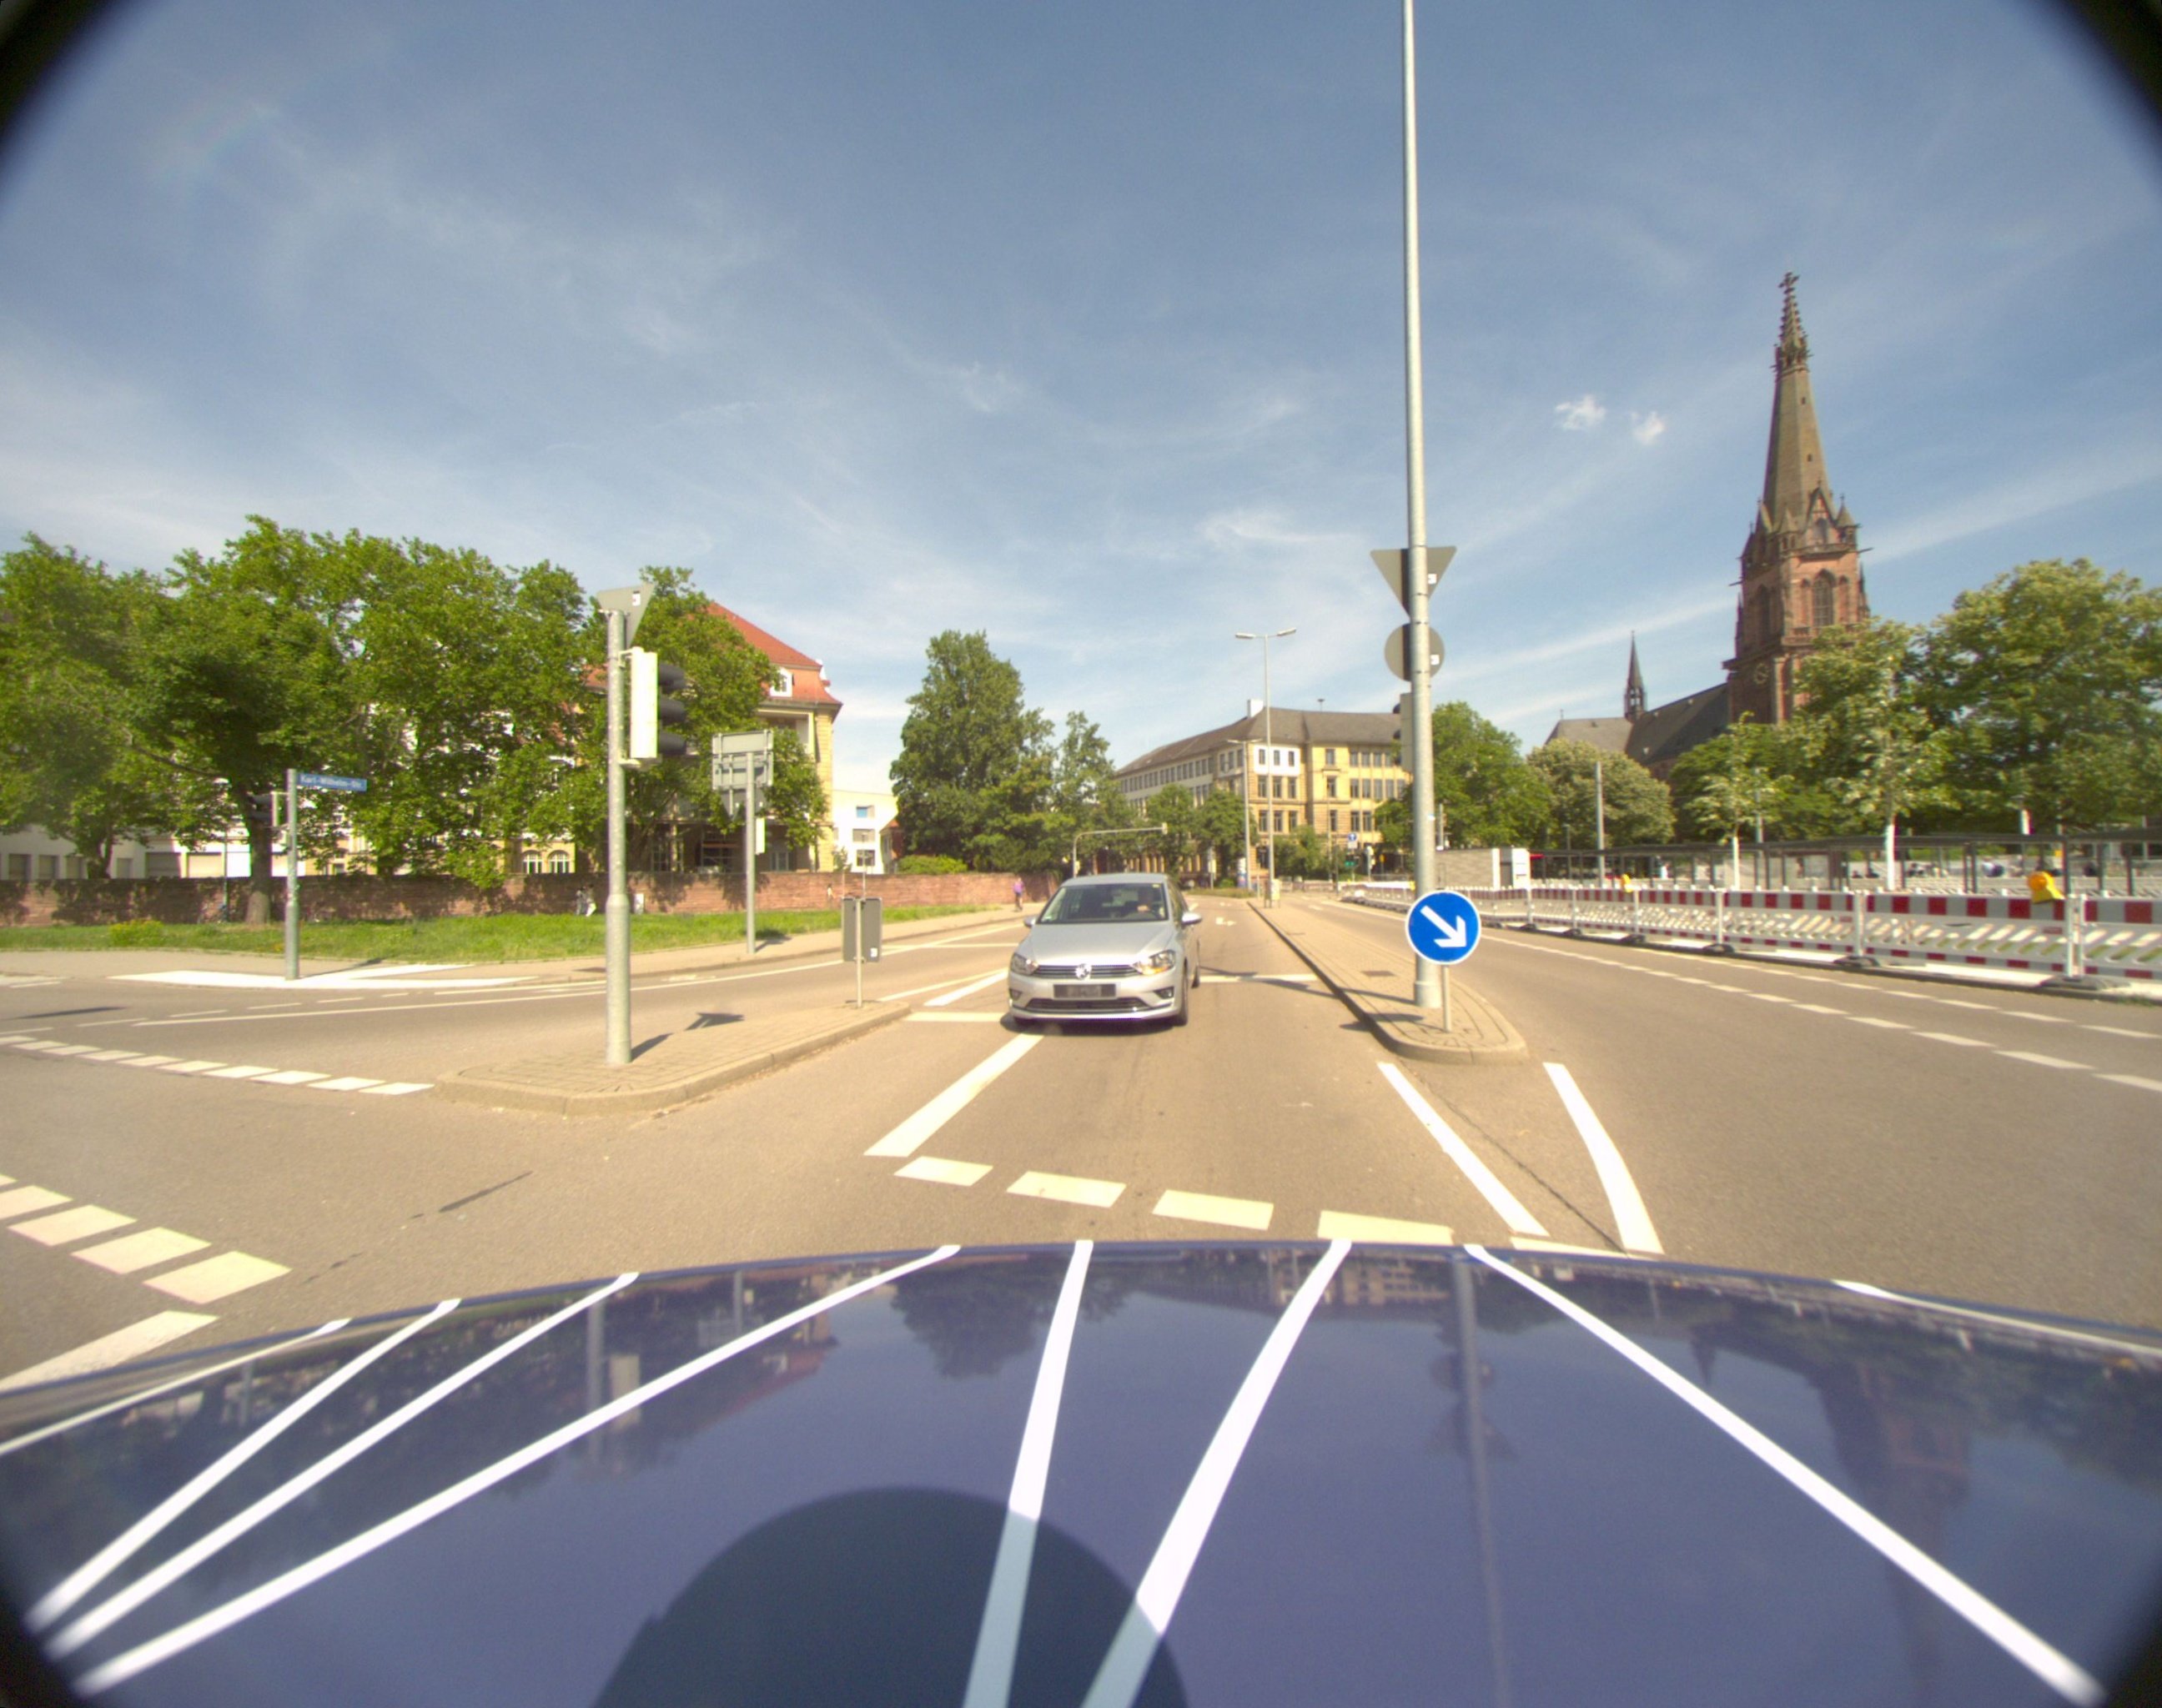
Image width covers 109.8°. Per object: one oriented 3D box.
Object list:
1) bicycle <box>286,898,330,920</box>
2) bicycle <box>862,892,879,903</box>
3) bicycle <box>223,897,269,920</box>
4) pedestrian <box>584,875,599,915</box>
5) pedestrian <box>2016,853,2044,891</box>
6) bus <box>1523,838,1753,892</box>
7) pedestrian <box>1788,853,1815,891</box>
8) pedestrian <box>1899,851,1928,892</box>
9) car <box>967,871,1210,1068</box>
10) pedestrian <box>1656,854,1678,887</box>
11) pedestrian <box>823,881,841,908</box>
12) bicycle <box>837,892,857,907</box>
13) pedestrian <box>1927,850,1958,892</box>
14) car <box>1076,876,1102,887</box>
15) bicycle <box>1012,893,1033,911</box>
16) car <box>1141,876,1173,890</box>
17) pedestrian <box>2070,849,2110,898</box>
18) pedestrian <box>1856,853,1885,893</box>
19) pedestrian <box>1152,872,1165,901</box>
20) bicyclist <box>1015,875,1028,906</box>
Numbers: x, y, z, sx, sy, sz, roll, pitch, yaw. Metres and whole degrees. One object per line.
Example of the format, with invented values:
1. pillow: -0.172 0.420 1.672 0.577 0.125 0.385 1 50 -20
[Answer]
1. bicycle: -37.388 2.640 36.780 1.449 1.027 0.447 0 -1 -16
2. bicycle: -12.922 2.668 46.592 0.950 0.598 0.274 1 -2 -41
3. bicycle: -39.696 2.591 36.138 1.449 1.027 0.447 0 -1 -16
4. pedestrian: -24.945 2.083 38.714 0.597 2.001 0.522 -1 -1 -31
5. pedestrian: 42.024 0.786 33.655 0.822 1.651 0.743 0 -1 -38
6. bus: 37.206 0.914 51.746 3.137 3.075 12.391 -3 -2 -28
7. pedestrian: 38.571 0.961 40.683 0.687 2.001 0.819 0 -1 -25
8. pedestrian: 40.810 0.857 37.248 0.821 2.001 0.685 -1 -1 -20
9. car: 0.368 0.993 8.317 1.686 1.576 4.158 -1 -2 15
10. pedestrian: 35.347 0.996 45.840 0.819 2.001 0.687 -1 -1 13
11. pedestrian: -14.548 2.362 44.379 0.915 1.538 0.502 0 -1 -26
12. bicycle: -13.970 2.719 45.396 0.393 0.877 1.231 -1 -1 30
13. pedestrian: 41.474 0.828 36.574 0.821 2.001 0.685 0 -1 -20
14. car: 1.427 4.762 132.377 4.004 1.652 1.996 -3 1 -24
15. bicycle: -3.118 2.574 40.834 0.684 0.882 1.934 -1 -1 9
16. car: 10.823 4.056 107.828 4.004 1.652 1.996 -3 1 -25
17. pedestrian: 41.575 0.793 31.320 0.821 2.001 0.686 0 -1 -15
18. pedestrian: 39.459 0.950 37.972 0.821 2.001 0.685 0 -1 -20
19. pedestrian: 5.422 2.257 53.383 0.795 2.001 0.616 -1 -1 -5
20. bicyclist: -3.185 1.967 40.851 0.487 1.627 1.085 -1 -1 8
